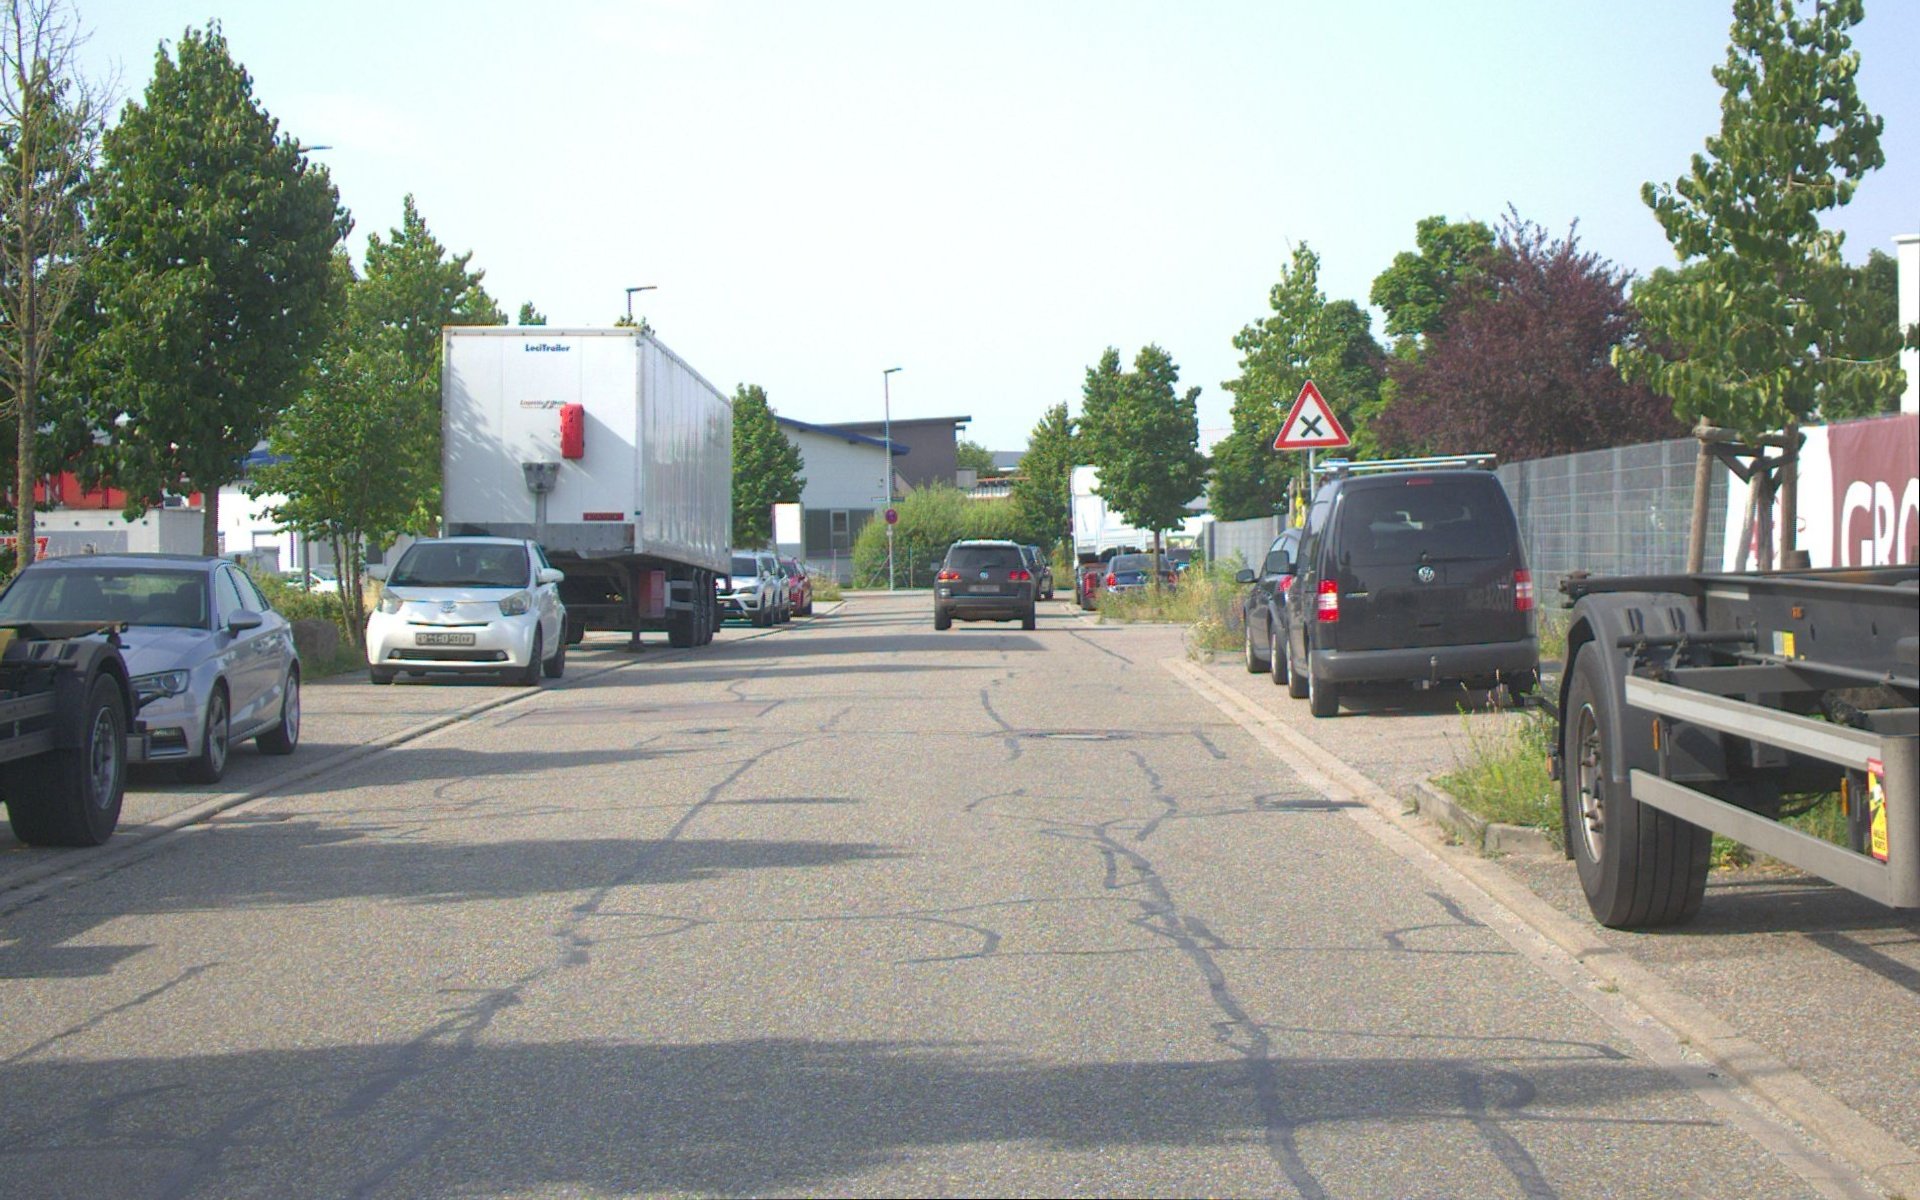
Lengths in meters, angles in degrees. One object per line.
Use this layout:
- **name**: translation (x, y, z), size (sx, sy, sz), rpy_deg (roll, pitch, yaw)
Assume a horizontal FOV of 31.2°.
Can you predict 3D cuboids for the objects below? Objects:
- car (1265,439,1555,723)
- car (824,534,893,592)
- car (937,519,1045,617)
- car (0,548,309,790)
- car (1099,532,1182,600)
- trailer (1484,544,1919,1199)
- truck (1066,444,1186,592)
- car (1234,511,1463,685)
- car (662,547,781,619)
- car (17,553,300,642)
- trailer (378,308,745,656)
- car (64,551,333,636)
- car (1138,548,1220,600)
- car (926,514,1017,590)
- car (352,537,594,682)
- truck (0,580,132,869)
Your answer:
- **car**: translation (3.477, -0.192, 27.233), size (1.818, 1.971, 4.000), rpy_deg (-4, 1, 3)
- **car**: translation (-3.127, -1.160, 106.474), size (1.993, 1.766, 4.000), rpy_deg (0, 1, 0)
- **car**: translation (0.617, -0.639, 65.757), size (1.993, 1.798, 4.000), rpy_deg (0, 1, 1)
- **car**: translation (-5.507, 0.385, 22.538), size (1.884, 1.431, 4.001), rpy_deg (-1, 1, -3)
- **car**: translation (4.107, -0.789, 78.599), size (1.818, 1.444, 3.801), rpy_deg (-2, 1, 3)
- **trailer**: translation (3.422, 0.566, 9.238), size (2.623, 1.383, 9.455), rpy_deg (-3, 1, 1)
- **truck**: translation (4.293, -2.104, 89.378), size (2.887, 3.574, 8.061), rpy_deg (-2, 1, 3)
- **car**: translation (3.627, -0.065, 32.677), size (1.818, 1.444, 3.801), rpy_deg (-4, 1, 3)
- **car**: translation (-5.163, -0.389, 74.873), size (1.994, 1.518, 4.000), rpy_deg (-1, 1, 4)
- **car**: translation (-12.542, -0.044, 53.881), size (3.988, 1.335, 1.616), rpy_deg (0, 1, 8)
- **trailer**: translation (-5.438, -1.591, 50.084), size (3.404, 4.325, 13.919), rpy_deg (-1, 1, 1)
- **car**: translation (-12.487, -0.117, 56.467), size (3.988, 1.335, 1.616), rpy_deg (0, 1, 8)
- **car**: translation (7.730, -0.925, 120.892), size (1.995, 1.766, 3.997), rpy_deg (0, 1, 17)
- **car**: translation (0.311, -1.181, 83.644), size (1.994, 1.798, 4.000), rpy_deg (0, 1, 3)
- **car**: translation (-5.017, 0.063, 35.908), size (1.810, 1.422, 4.000), rpy_deg (-1, 1, 2)
- **truck**: translation (-5.585, 0.612, 14.597), size (2.524, 1.261, 6.527), rpy_deg (-1, 1, 0)
